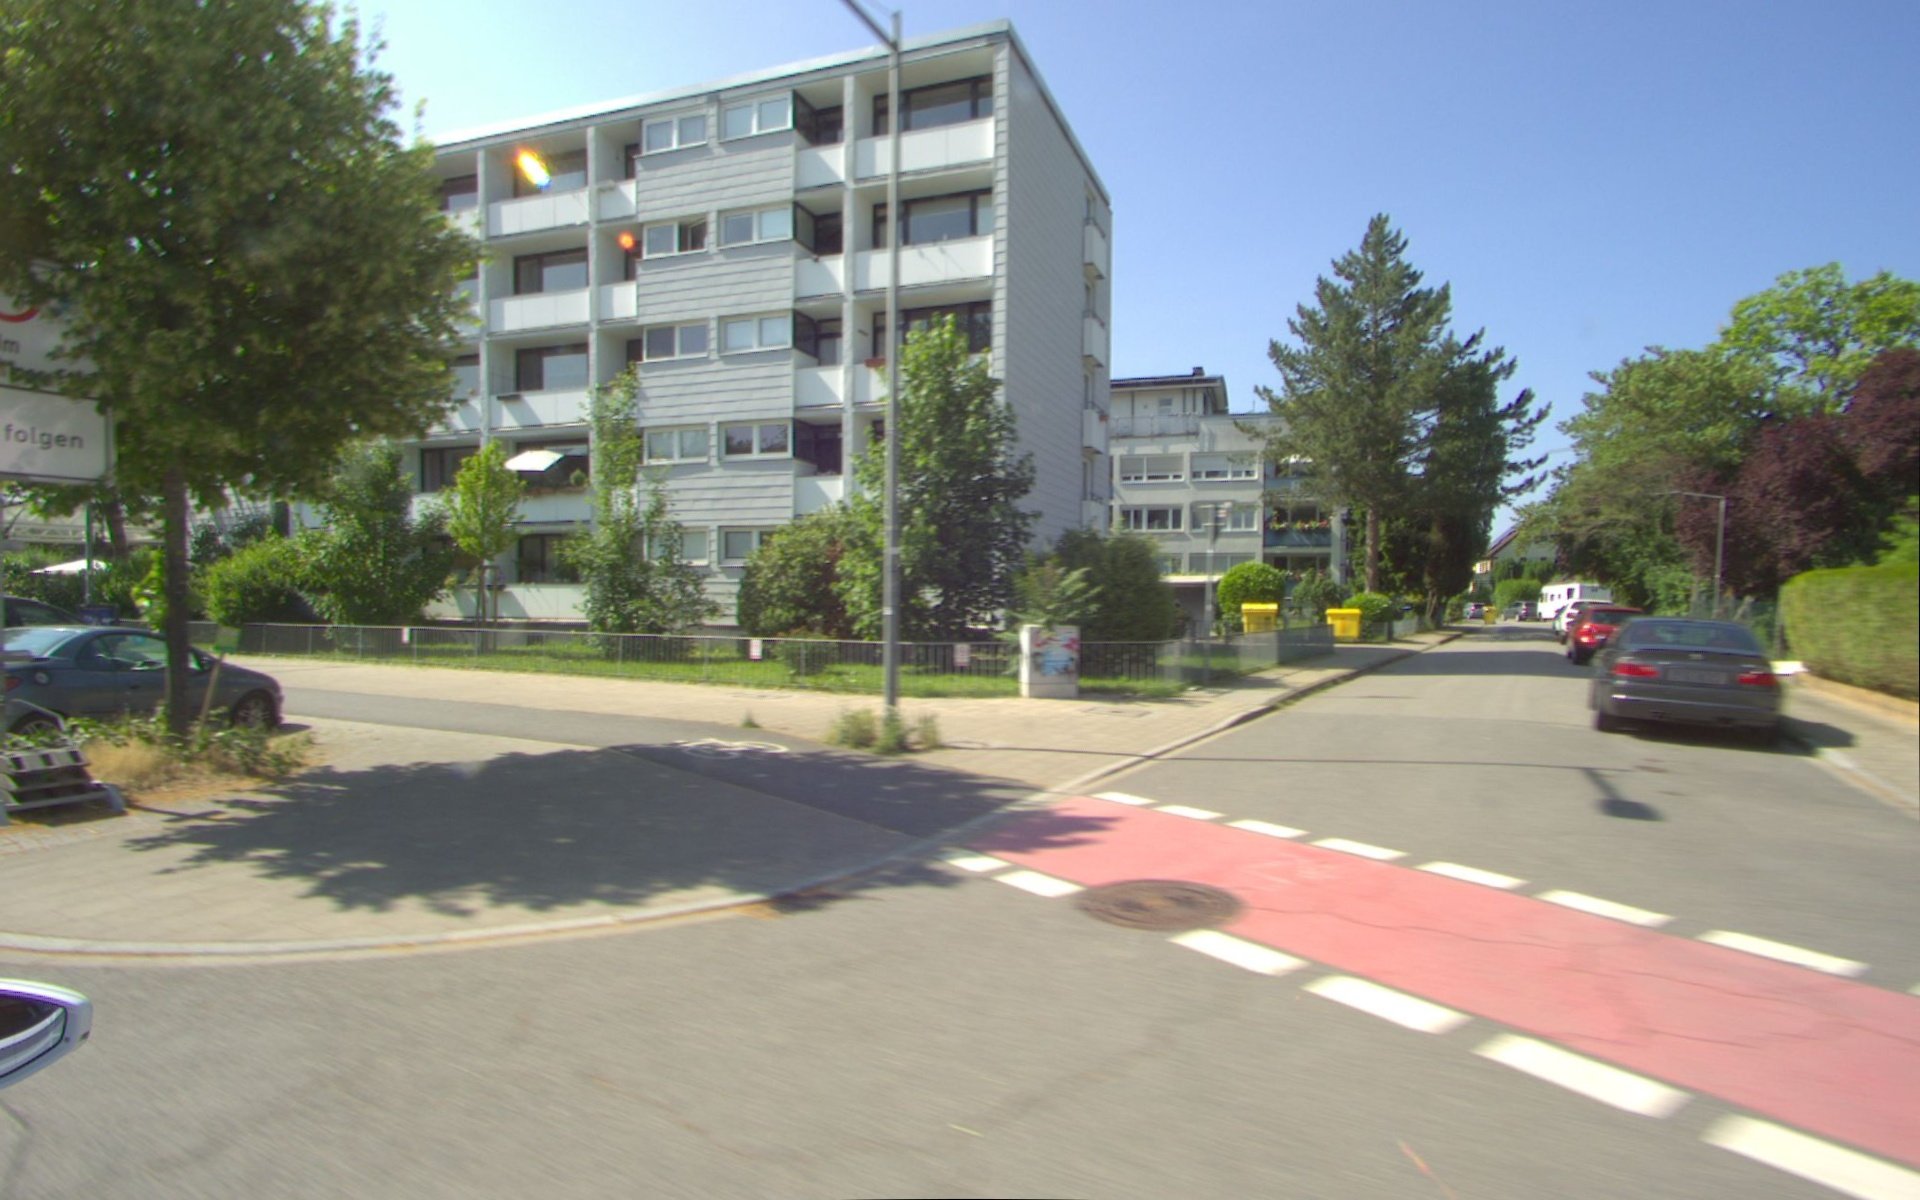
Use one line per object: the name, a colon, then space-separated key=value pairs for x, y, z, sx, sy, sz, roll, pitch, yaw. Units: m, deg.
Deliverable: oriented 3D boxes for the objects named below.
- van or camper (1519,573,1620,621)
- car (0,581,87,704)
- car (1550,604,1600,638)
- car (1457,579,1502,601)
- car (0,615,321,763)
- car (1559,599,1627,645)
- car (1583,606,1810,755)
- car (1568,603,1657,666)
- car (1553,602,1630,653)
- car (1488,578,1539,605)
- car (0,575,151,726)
van or camper: x=45.845 y=-0.143 z=75.809 sx=3.085 sy=3.424 sz=10.547 roll=0 pitch=-1 yaw=11
car: x=-13.903 y=0.577 z=12.838 sx=1.844 sy=1.661 sz=4.000 roll=-1 pitch=-1 yaw=1
car: x=29.603 y=0.981 z=48.279 sx=1.887 sy=1.525 sz=3.982 roll=1 pitch=0 yaw=30
car: x=51.785 y=-0.945 z=99.938 sx=2.563 sy=2.040 sz=5.741 roll=0 pitch=-1 yaw=13
car: x=-8.931 y=0.790 z=10.465 sx=1.719 sy=1.252 sz=4.000 roll=0 pitch=-1 yaw=5
car: x=23.238 y=0.759 z=36.871 sx=1.887 sy=1.577 sz=3.982 roll=1 pitch=0 yaw=30
car: x=8.860 y=0.829 z=12.391 sx=1.783 sy=1.417 sz=4.109 roll=3 pitch=2 yaw=31
car: x=16.662 y=0.819 z=25.724 sx=1.623 sy=1.475 sz=3.982 roll=1 pitch=0 yaw=30
car: x=20.465 y=0.843 z=32.566 sx=1.887 sy=1.525 sz=3.982 roll=1 pitch=0 yaw=30
car: x=50.658 y=-0.721 z=91.753 sx=2.563 sy=2.319 sz=5.741 roll=0 pitch=-1 yaw=13
car: x=-11.607 y=0.556 z=11.131 sx=2.005 sy=1.661 sz=4.120 roll=0 pitch=0 yaw=-2
